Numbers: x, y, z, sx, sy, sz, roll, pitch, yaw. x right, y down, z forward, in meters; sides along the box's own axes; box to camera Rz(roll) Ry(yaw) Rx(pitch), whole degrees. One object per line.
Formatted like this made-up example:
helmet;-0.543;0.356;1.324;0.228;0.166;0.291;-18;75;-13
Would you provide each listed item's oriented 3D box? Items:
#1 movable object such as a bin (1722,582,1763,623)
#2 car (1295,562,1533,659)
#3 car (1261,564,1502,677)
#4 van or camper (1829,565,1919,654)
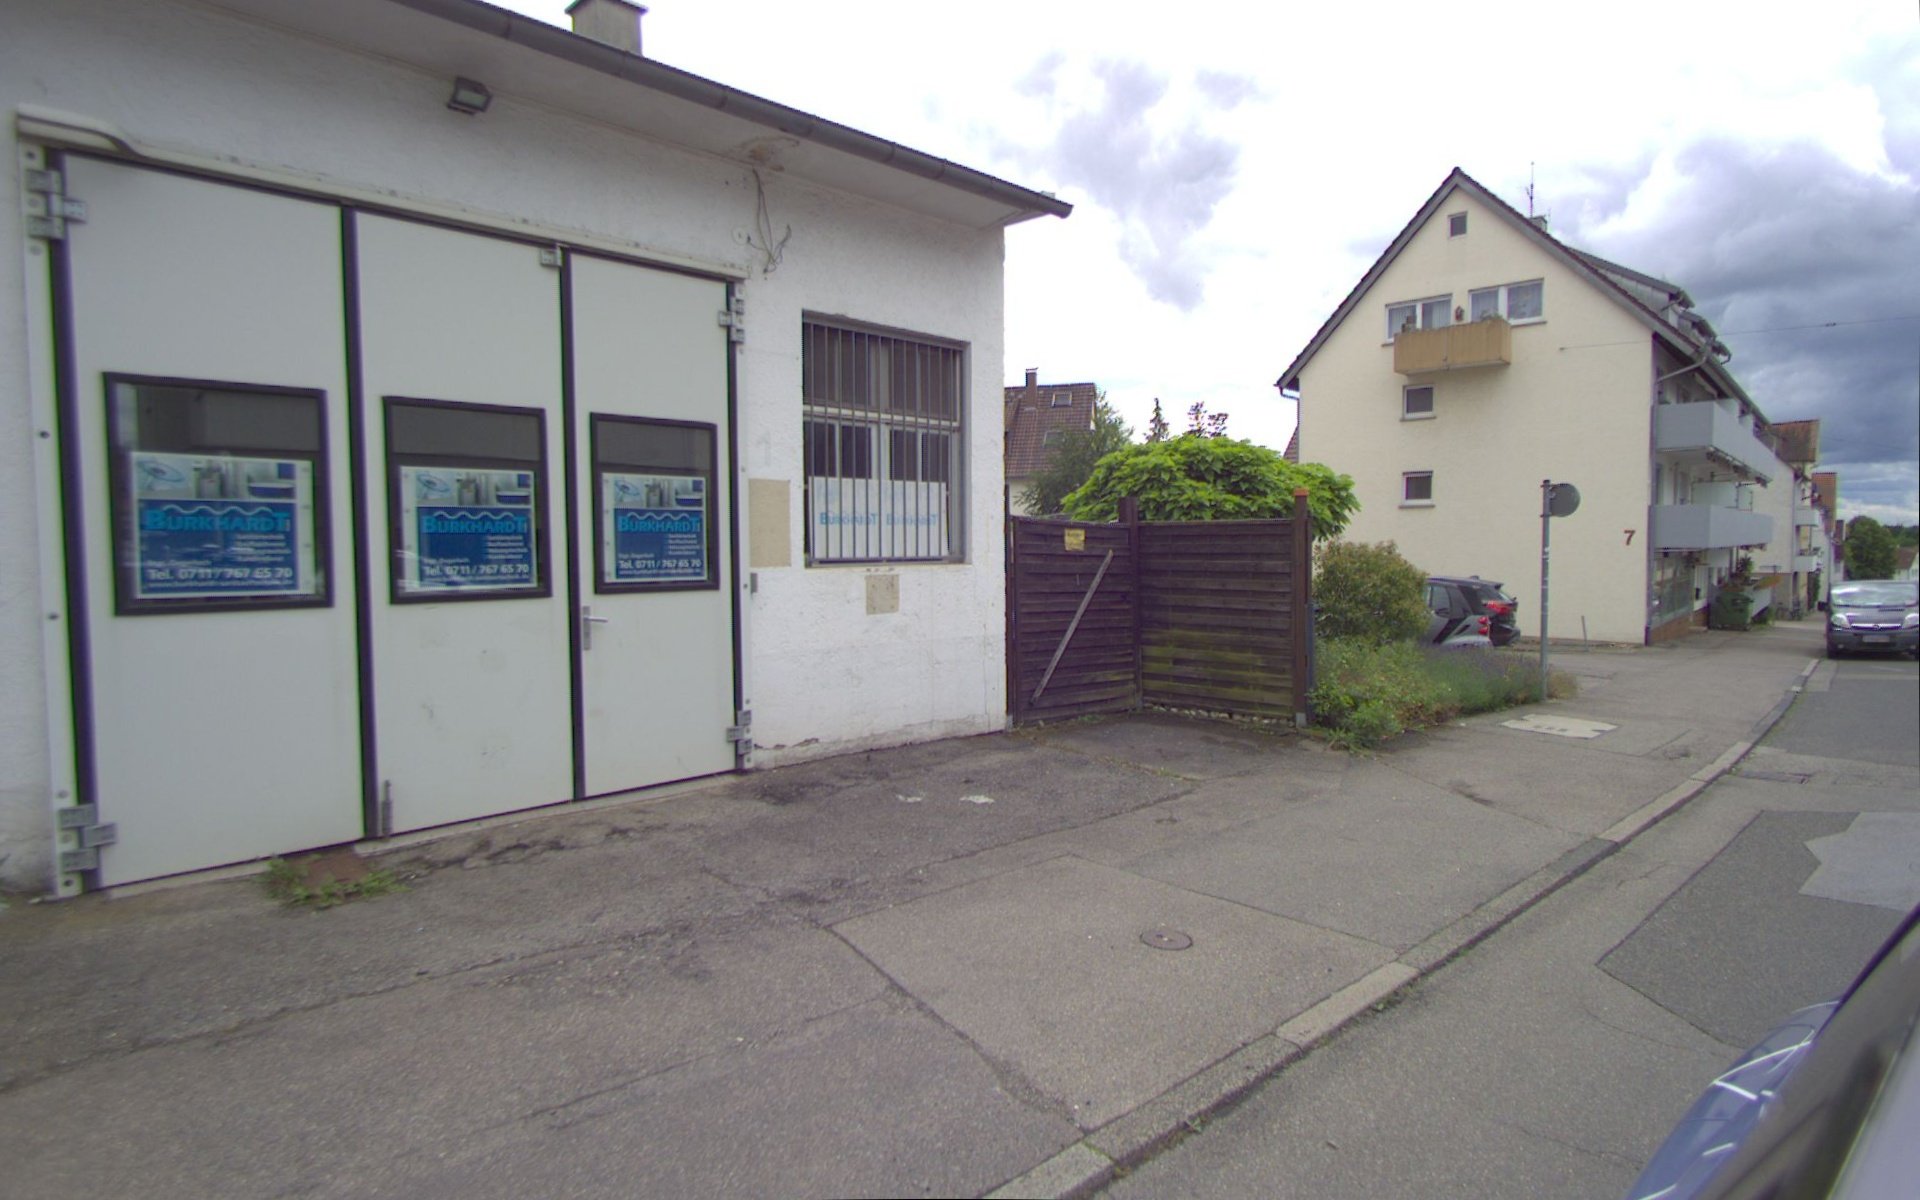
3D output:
movable object such as a bin;28.854;0.084;37.307;1.079;1.455;1.241;0;0;43
car;9.130;0.136;20.464;4.099;1.674;1.881;3;3;35
car;6.587;0.246;15.997;3.287;1.537;1.690;3;2;24
van or camper;23.420;0.191;25.669;1.992;2.039;4.988;-1;0;42
